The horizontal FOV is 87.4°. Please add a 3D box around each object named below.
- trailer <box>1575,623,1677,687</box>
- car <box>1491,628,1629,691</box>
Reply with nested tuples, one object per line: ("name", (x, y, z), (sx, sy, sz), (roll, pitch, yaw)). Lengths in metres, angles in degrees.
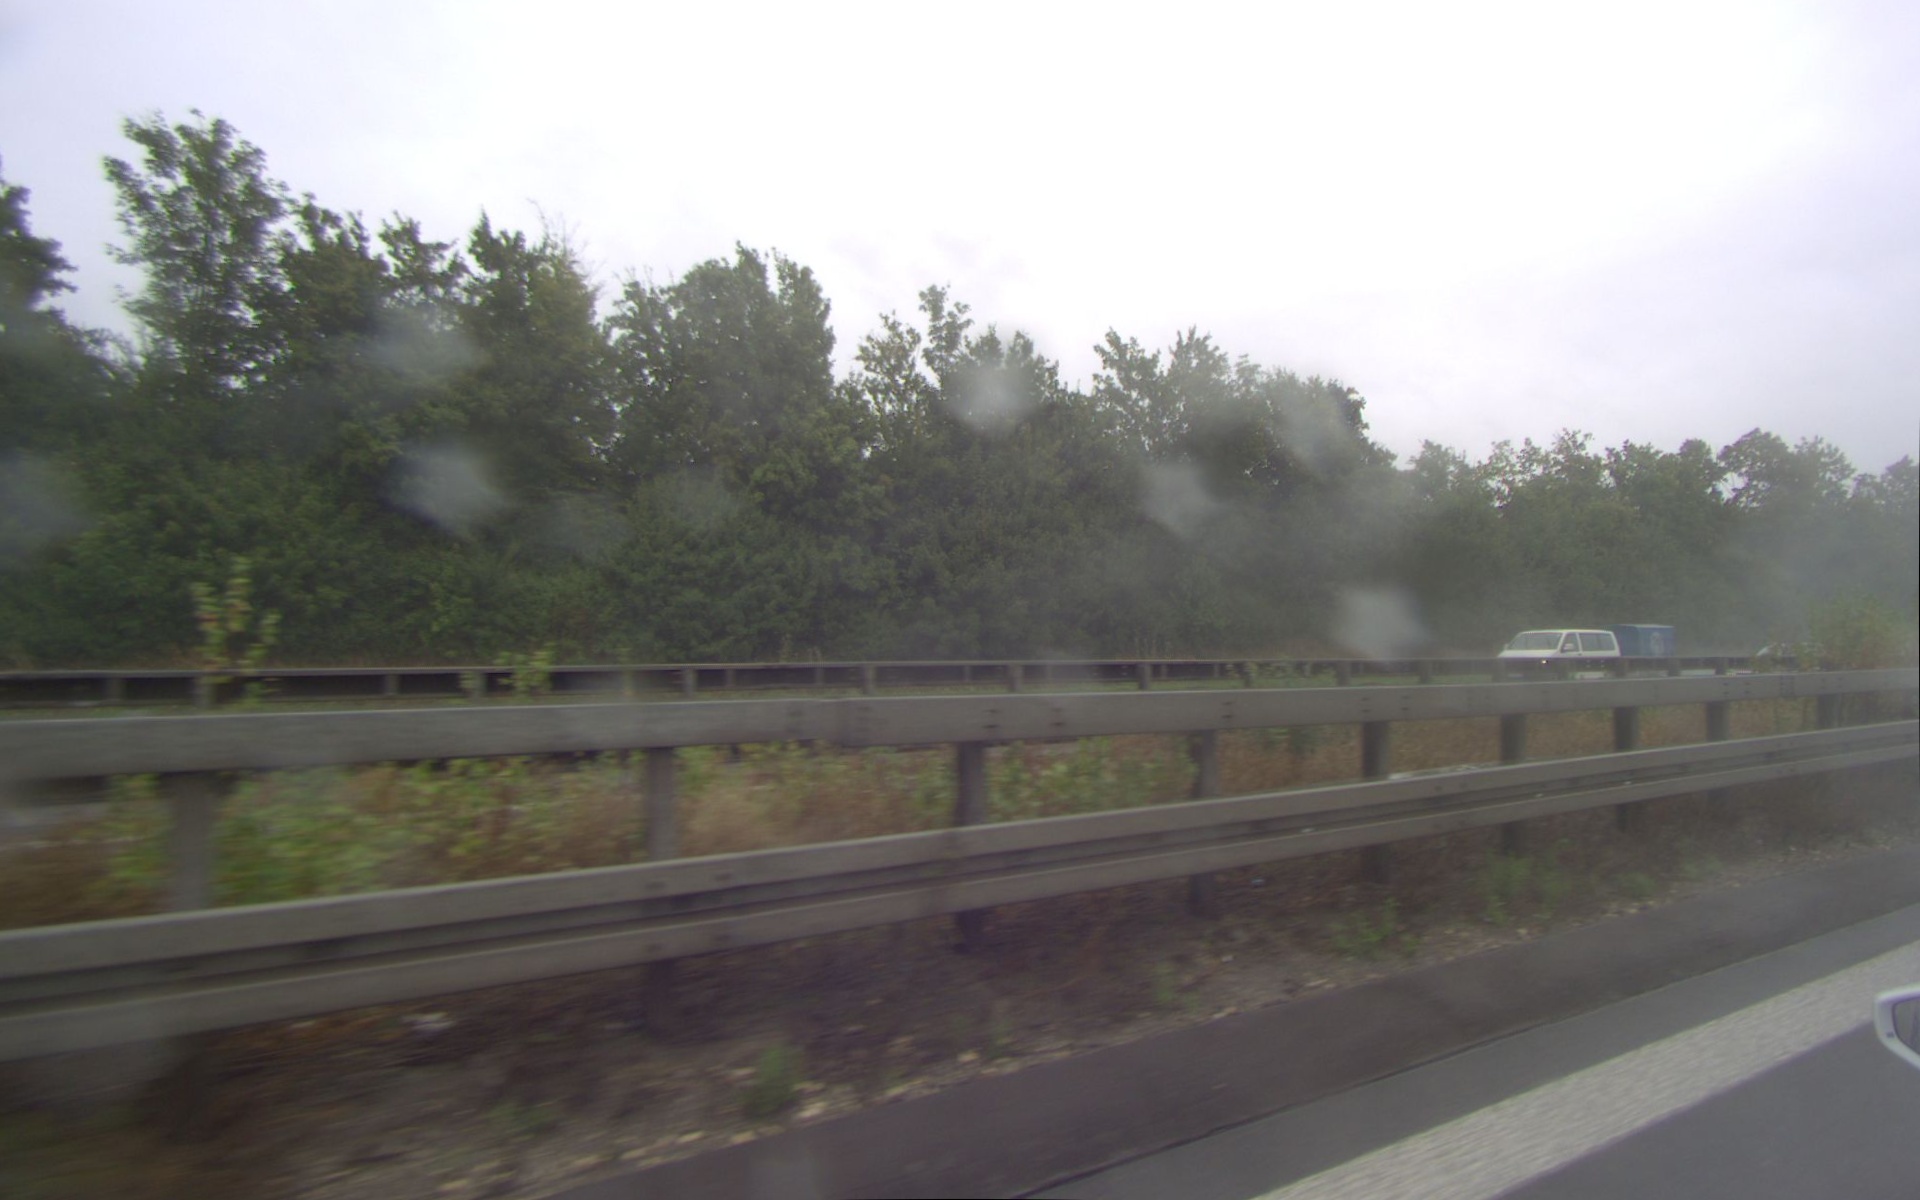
("trailer", (23.164, 1.857, 34.906), (3.973, 2.041, 1.407), (0, 1, -31))
("car", (19.481, 1.879, 32.561), (4.671, 1.838, 1.871), (2, 0, -31))
